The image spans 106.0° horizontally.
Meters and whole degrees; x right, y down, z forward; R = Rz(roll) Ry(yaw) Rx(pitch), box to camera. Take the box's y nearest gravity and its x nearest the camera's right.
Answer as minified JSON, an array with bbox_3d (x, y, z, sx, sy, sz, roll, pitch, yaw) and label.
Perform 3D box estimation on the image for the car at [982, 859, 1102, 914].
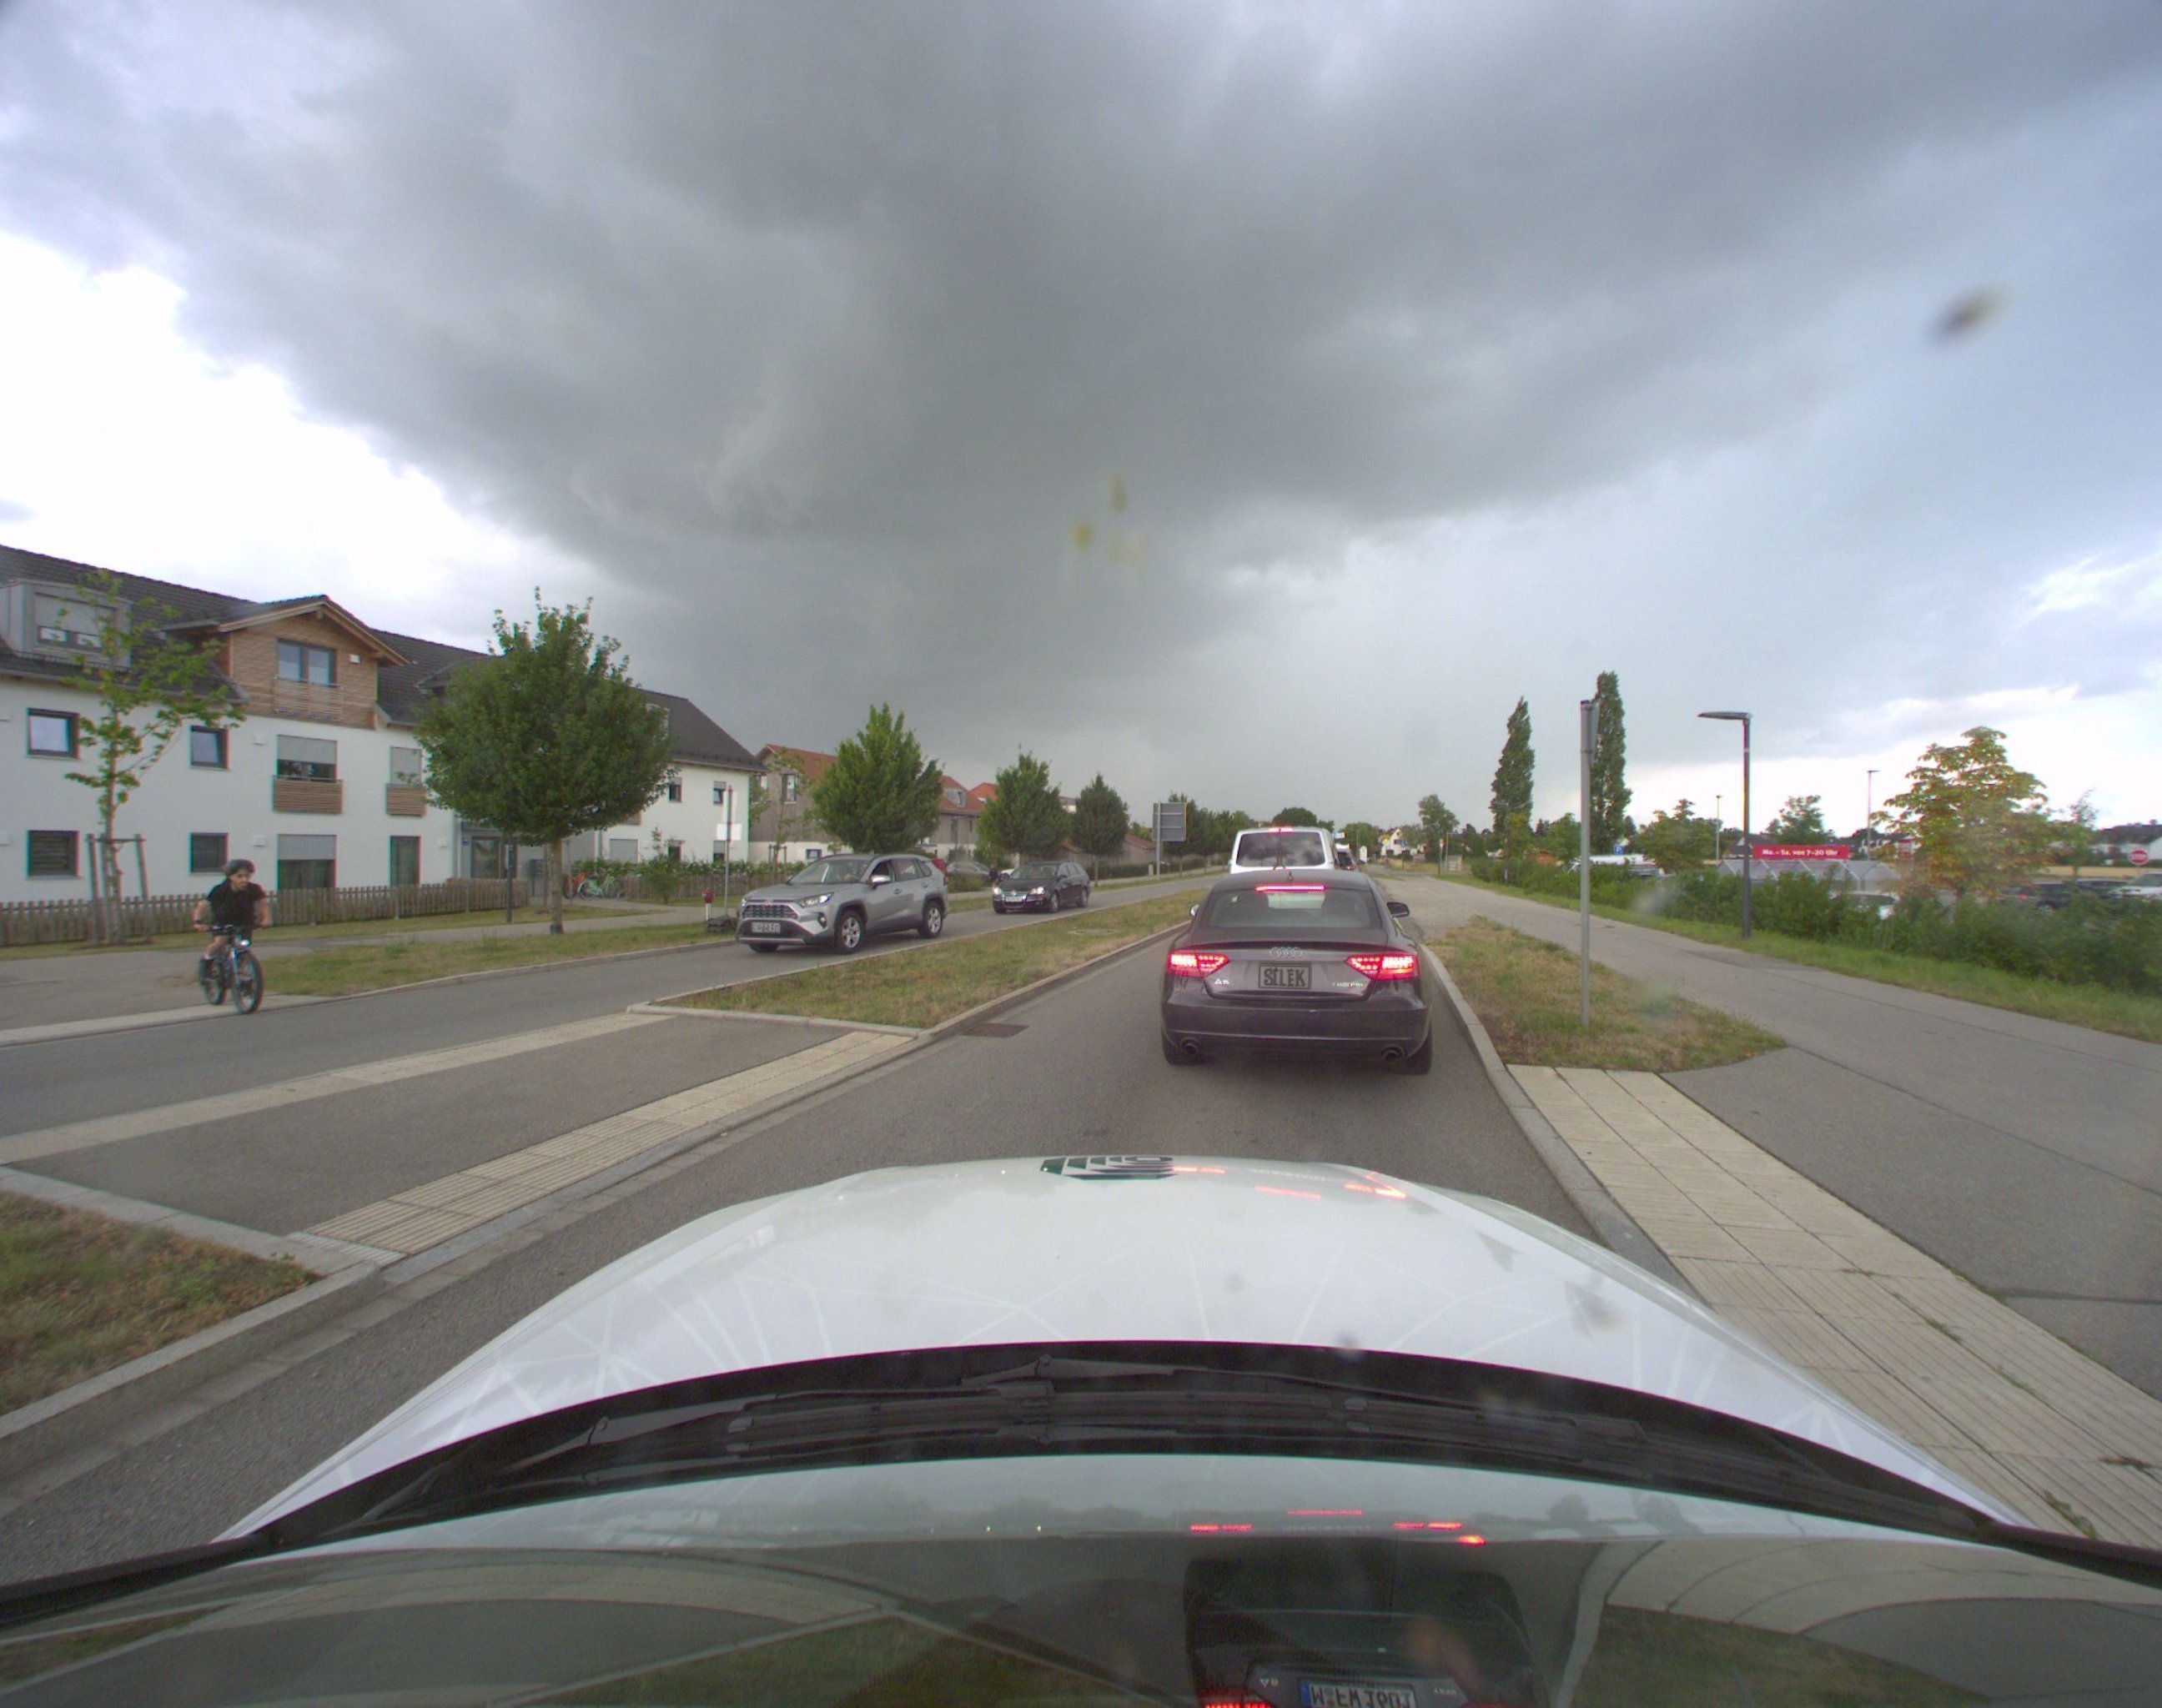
[{"bbox_3d":[-1.005,0.874,23.701,1.738,1.416,4.480,0,0,23],"label":"car"}]

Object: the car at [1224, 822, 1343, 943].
[{"bbox_3d":[3.837,0.471,15.193,1.853,1.934,4.017,-1,0,16],"label":"car"}]

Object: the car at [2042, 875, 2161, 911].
[{"bbox_3d":[48.388,1.798,37.995,4.276,1.578,1.776,0,0,20],"label":"car"}]

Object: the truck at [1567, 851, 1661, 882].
[{"bbox_3d":[35.040,0.817,53.664,4.762,1.872,2.007,1,0,14],"label":"truck"}]

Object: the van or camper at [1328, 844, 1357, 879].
[{"bbox_3d":[26.005,0.755,81.030,2.604,3.324,6.852,1,-1,18],"label":"van or camper"}]

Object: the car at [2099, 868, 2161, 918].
[{"bbox_3d":[48.055,1.665,35.228,5.080,2.013,2.005,0,1,7],"label":"car"}]

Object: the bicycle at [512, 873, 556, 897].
[{"bbox_3d":[-20.423,1.142,30.429,0.364,0.843,1.344,3,1,20],"label":"bicycle"}]

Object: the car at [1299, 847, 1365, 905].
[{"bbox_3d":[7.749,0.620,25.015,1.762,1.618,4.019,-1,0,18],"label":"car"}]

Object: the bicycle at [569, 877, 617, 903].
[{"bbox_3d":[-17.681,1.291,29.548,0.364,0.843,1.554,3,1,20],"label":"bicycle"}]

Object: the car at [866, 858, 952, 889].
[{"bbox_3d":[-9.985,1.105,47.416,4.491,1.680,2.010,0,0,21],"label":"car"}]

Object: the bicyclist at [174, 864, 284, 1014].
[{"bbox_3d":[-8.880,0.840,8.521,0.729,1.446,0.859,-1,0,-43],"label":"bicyclist"}]

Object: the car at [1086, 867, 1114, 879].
[{"bbox_3d":[1.825,1.838,78.616,2.455,1.028,1.189,0,0,12],"label":"car"}]

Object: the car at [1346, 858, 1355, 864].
[{"bbox_3d":[53.900,1.383,163.030,1.600,1.272,3.478,1,0,19],"label":"car"}]

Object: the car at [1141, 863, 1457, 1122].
[{"bbox_3d":[1.805,0.800,6.754,1.770,1.391,4.150,-1,0,16],"label":"car"}]

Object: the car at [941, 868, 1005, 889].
[{"bbox_3d":[-7.311,1.631,55.413,3.885,1.315,1.850,0,0,16],"label":"car"}]

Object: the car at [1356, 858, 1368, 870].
[{"bbox_3d":[40.089,1.392,116.159,1.600,1.631,3.633,1,0,19],"label":"car"}]

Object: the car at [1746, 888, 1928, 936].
[{"bbox_3d":[26.113,1.974,28.315,4.199,1.440,2.009,0,0,18],"label":"car"}]

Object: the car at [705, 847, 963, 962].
[{"bbox_3d":[-4.127,0.771,14.595,1.977,1.704,4.658,-2,-1,20],"label":"car"}]

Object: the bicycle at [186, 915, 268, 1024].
[{"bbox_3d":[-8.971,1.166,8.591,0.500,0.946,1.693,0,-1,-43],"label":"bicycle"}]

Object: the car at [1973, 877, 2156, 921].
[{"bbox_3d":[40.856,1.831,33.977,4.520,1.664,2.009,0,0,18],"label":"car"}]

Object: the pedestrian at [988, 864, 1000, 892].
[{"bbox_3d":[-4.858,1.325,45.445,0.579,1.559,0.660,0,0,4],"label":"pedestrian"}]

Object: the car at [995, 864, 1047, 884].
[{"bbox_3d":[-4.751,1.563,64.848,3.702,1.482,1.693,1,0,15],"label":"car"}]
